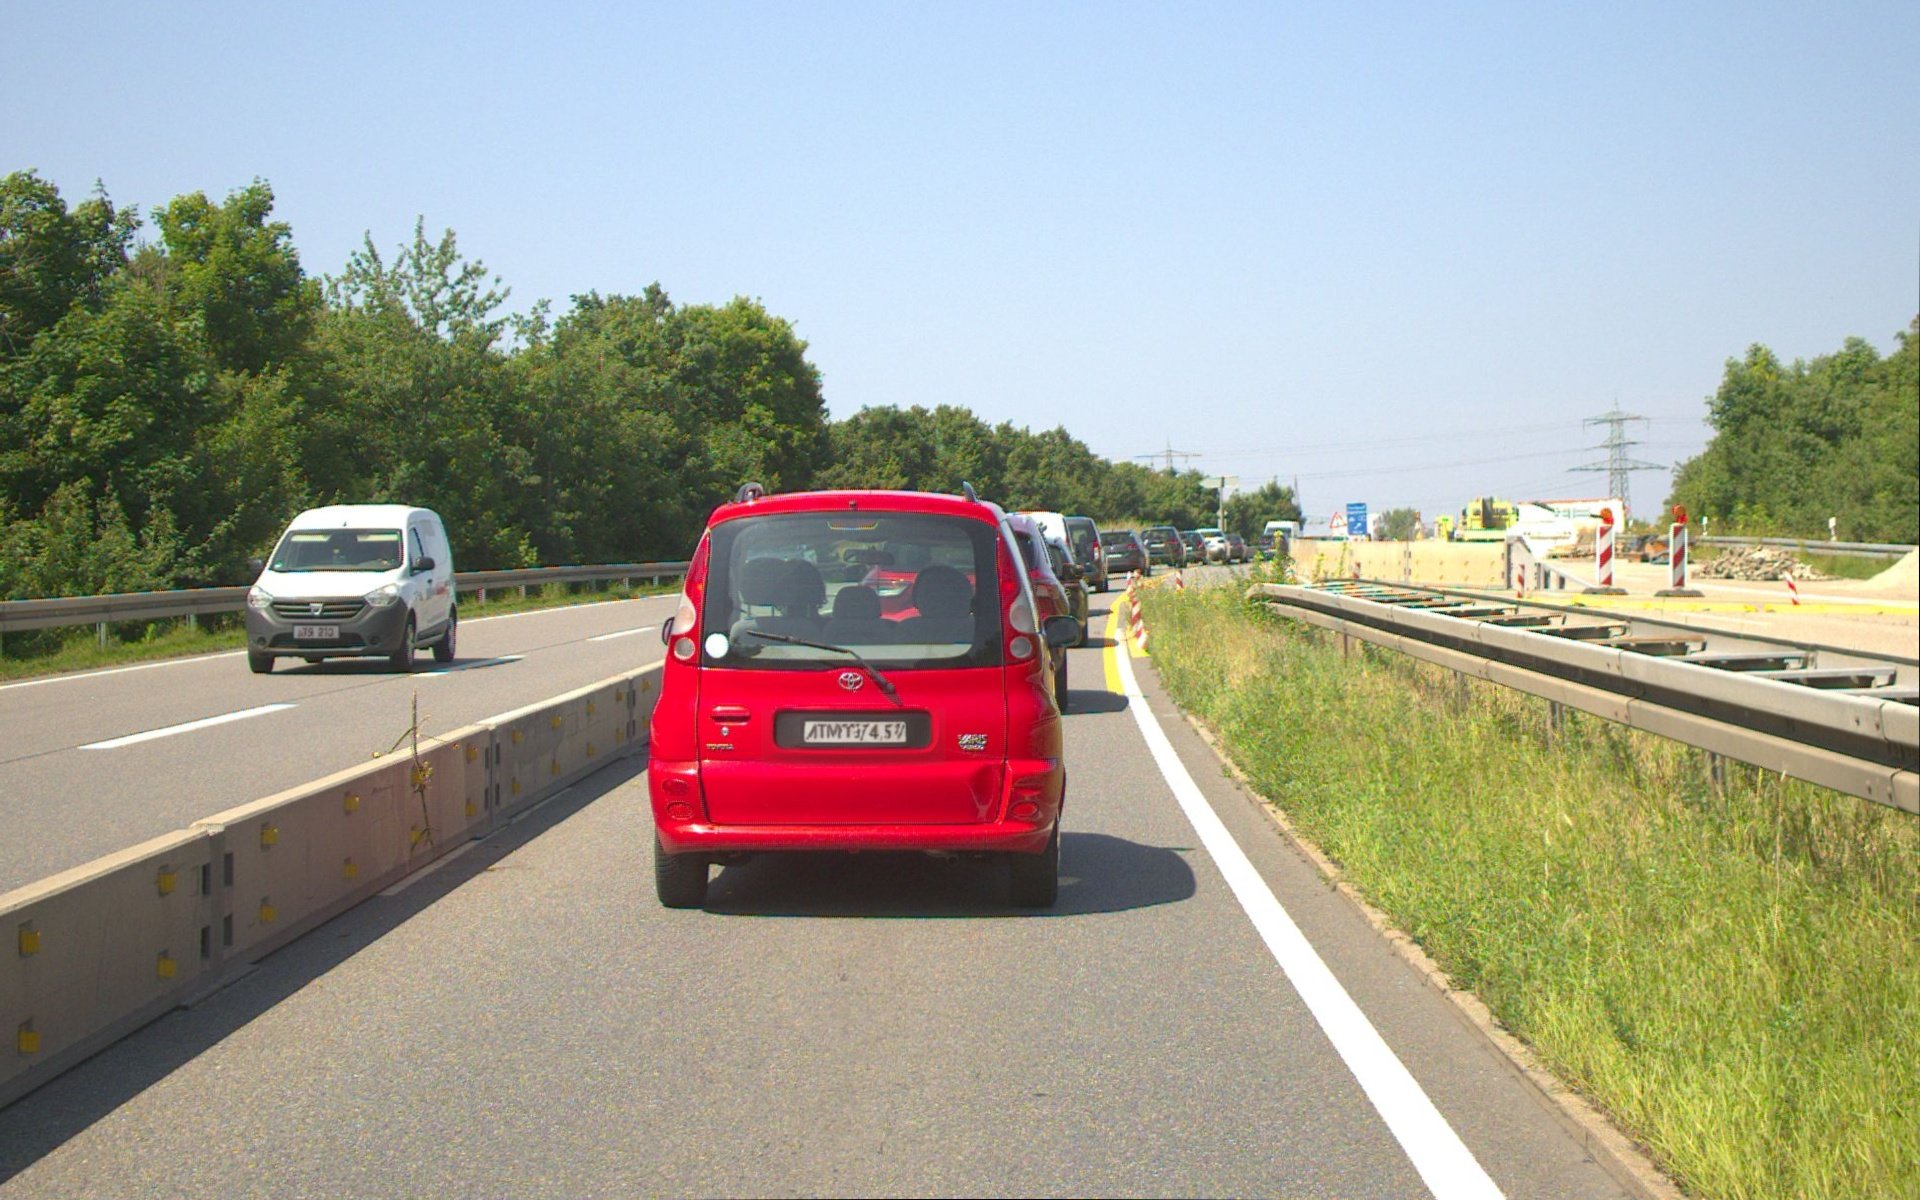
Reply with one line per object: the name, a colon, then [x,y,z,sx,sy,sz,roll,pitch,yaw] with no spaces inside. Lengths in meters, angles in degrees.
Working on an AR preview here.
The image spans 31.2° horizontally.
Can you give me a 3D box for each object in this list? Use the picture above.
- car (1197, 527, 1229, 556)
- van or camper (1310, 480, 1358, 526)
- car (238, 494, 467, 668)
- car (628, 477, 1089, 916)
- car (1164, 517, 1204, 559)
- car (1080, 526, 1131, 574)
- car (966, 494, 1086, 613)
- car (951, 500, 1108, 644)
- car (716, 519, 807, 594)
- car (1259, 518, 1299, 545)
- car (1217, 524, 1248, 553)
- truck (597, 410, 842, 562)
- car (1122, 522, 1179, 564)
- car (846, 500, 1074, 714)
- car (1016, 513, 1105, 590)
car: [11.704,-2.712,159.196,1.421,1.294,2.879,0,1,4]
van or camper: [22.559,-5.855,207.406,2.328,2.697,4.593,-1,1,-1]
car: [-6.597,-0.247,37.718,1.755,1.759,4.285,-1,1,-1]
car: [-0.394,0.332,15.086,1.751,1.667,4.000,0,1,0]
car: [9.359,-2.596,143.778,1.502,1.730,3.170,-1,1,2]
car: [4.420,-1.536,104.572,1.502,1.446,3.325,0,1,2]
car: [1.116,-0.819,60.071,1.993,1.997,4.000,1,1,0]
car: [0.929,-0.404,45.783,1.993,1.831,4.000,0,1,1]
car: [-4.565,-1.026,79.473,1.857,1.632,4.385,-1,1,-1]
car: [18.388,-3.958,198.273,1.993,1.546,4.000,-1,1,1]
car: [13.908,-3.150,175.518,1.502,1.446,3.170,0,1,4]
truck: [-8.875,-4.212,127.613,8.621,5.357,3.389,-1,1,3]
car: [7.210,-2.165,129.774,1.994,1.579,3.999,0,1,5]
car: [0.057,0.016,29.688,1.830,1.716,4.000,0,1,2]
car: [2.330,-1.144,80.498,1.993,1.744,4.000,0,1,1]
